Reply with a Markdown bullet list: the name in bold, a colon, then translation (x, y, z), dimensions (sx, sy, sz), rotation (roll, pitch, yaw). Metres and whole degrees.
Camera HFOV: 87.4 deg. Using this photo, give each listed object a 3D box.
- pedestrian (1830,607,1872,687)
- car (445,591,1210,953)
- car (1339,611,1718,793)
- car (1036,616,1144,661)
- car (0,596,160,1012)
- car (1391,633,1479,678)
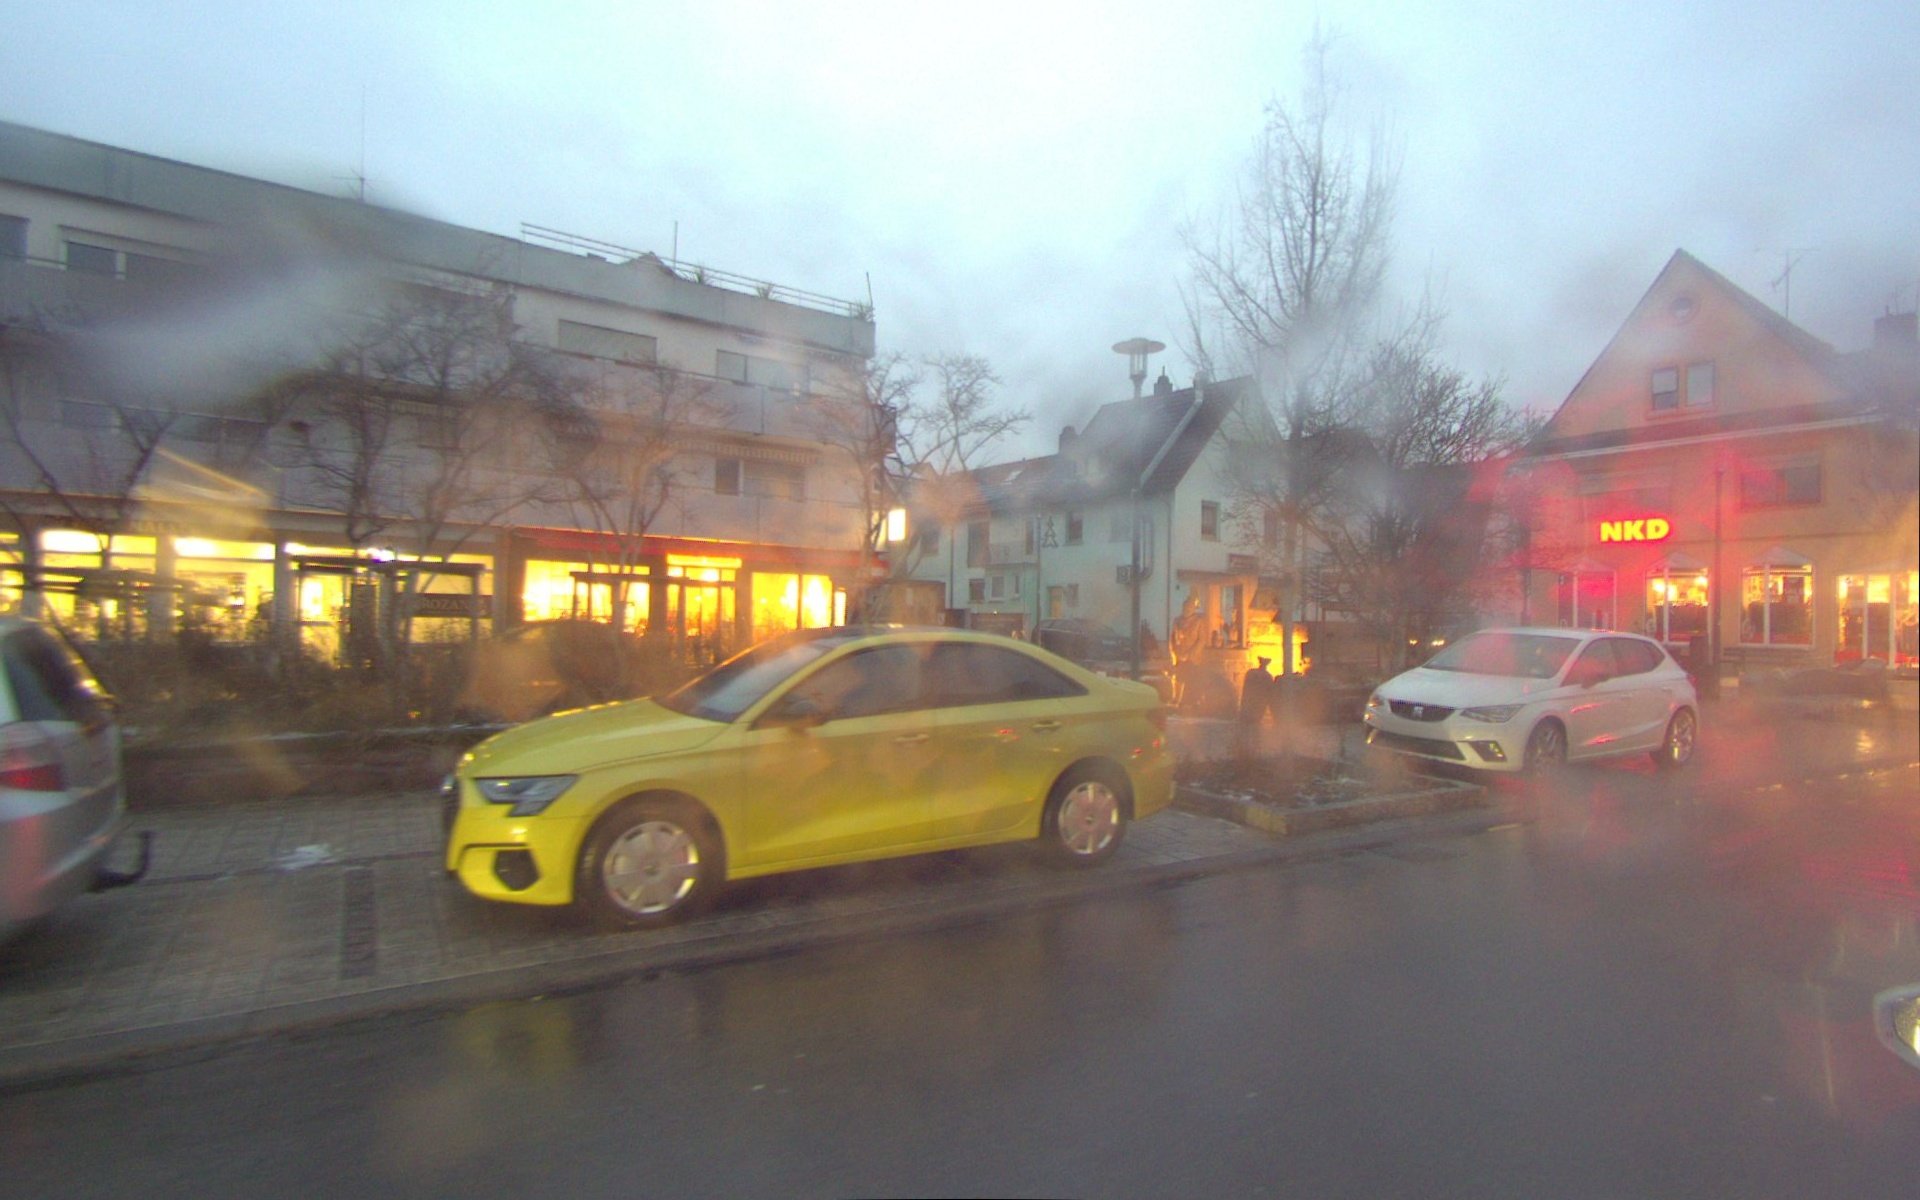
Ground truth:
- **pedestrian**: translation (19.964, 1.036, 22.512), dimensions (0.678, 1.765, 0.583), rotation (1, -1, -37)
- **car**: translation (-0.702, 0.780, 6.137), dimensions (4.289, 1.536, 1.741), rotation (1, 1, -29)
- **car**: translation (5.989, 0.945, 10.497), dimensions (3.953, 1.536, 1.661), rotation (1, 1, -30)
- **car**: translation (4.767, 1.395, 37.162), dimensions (1.604, 1.539, 3.854), rotation (2, -1, -43)
- **car**: translation (-5.373, 0.733, 3.598), dimensions (3.732, 1.536, 1.682), rotation (1, 0, -33)
- **car**: translation (20.059, 2.289, 42.390), dimensions (3.967, 1.743, 1.834), rotation (2, 0, -40)
